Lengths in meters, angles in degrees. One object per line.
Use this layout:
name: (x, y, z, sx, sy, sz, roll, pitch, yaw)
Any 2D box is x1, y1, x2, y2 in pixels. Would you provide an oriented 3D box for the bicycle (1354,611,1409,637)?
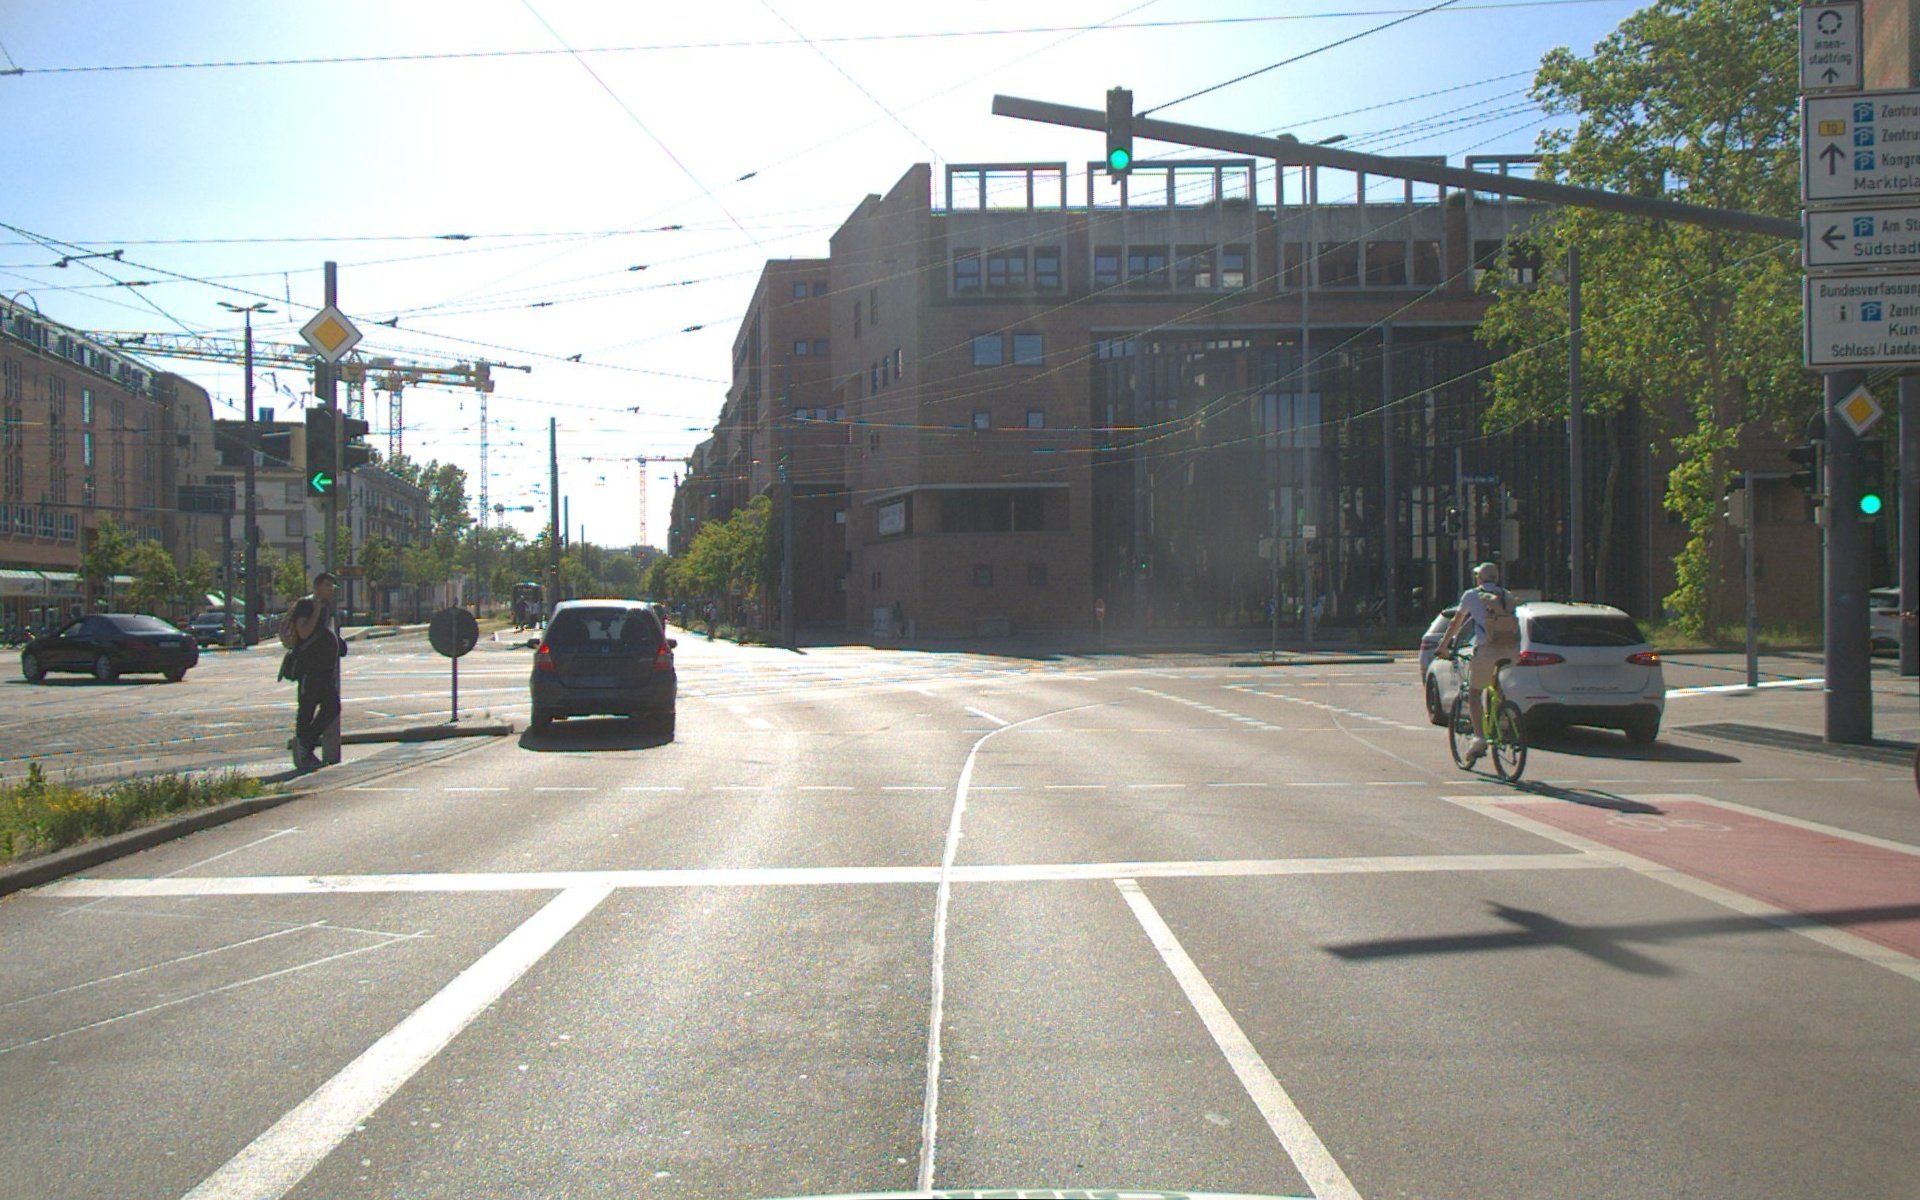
bicycle: (13.982, 0.804, 54.840, 1.639, 0.820, 0.671, -1, 0, -12)

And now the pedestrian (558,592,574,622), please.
pedestrian: (-23.296, 0.397, 97.798, 0.709, 1.765, 0.596, -1, -1, -32)

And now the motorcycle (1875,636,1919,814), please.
motorcycle: (7.061, 0.868, 10.815, 0.812, 1.222, 2.390, 1, 0, -1)

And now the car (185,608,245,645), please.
car: (-33.446, 1.158, 74.310, 1.582, 1.422, 3.907, -5, 1, -12)

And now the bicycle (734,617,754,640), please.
bicycle: (-9.446, 1.229, 72.304, 0.593, 1.002, 2.306, 0, 0, -14)

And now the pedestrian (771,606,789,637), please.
pedestrian: (-10.080, 1.208, 92.723, 0.865, 1.747, 0.928, -1, 0, -15)

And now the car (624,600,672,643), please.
car: (-14.982, 1.017, 79.280, 1.960, 1.982, 3.984, -1, 0, -14)

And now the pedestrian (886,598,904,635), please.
pedestrian: (-2.848, 0.730, 72.428, 0.607, 1.590, 0.983, -1, -1, -15)

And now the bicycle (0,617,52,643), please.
bicycle: (-49.266, 1.557, 87.146, 2.435, 1.333, 0.733, -1, 0, -3)

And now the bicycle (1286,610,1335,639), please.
bicycle: (12.749, 0.870, 60.131, 1.645, 1.012, 0.669, -1, 0, -22)

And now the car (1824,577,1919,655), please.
car: (21.303, 0.358, 36.217, 3.919, 1.611, 1.906, 1, 1, -14)

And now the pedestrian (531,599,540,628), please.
pedestrian: (-23.829, 0.757, 92.850, 0.510, 1.578, 0.598, -1, -1, -15)

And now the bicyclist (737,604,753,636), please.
bicyclist: (-9.365, 0.870, 71.961, 0.583, 1.359, 0.930, 0, -1, -15)

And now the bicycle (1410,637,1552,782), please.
bicycle: (4.591, 0.934, 14.696, 0.636, 1.129, 1.757, -1, 1, -2)

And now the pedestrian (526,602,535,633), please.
pedestrian: (-23.682, 0.964, 91.206, 0.501, 1.684, 0.758, -1, 0, -15)

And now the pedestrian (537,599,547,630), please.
pedestrian: (-23.171, 0.790, 91.609, 0.529, 1.684, 0.704, -1, -1, -15)

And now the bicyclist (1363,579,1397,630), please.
bicyclist: (13.909, 0.159, 54.812, 0.847, 1.658, 0.670, -1, 0, -12)

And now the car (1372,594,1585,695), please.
car: (8.933, 0.719, 28.312, 1.879, 1.568, 4.111, 1, 0, 43)

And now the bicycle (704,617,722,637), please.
bicycle: (-12.430, 1.356, 83.162, 0.656, 1.002, 2.576, 0, 0, -14)

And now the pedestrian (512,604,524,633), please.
pedestrian: (-24.368, 1.027, 91.212, 0.590, 1.594, 0.910, -1, 0, -15)

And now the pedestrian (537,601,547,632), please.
pedestrian: (-23.104, 0.925, 91.402, 0.529, 1.684, 0.892, -1, 0, -15)

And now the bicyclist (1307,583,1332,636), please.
bicyclist: (13.088, 0.350, 60.210, 0.597, 1.917, 0.646, -1, -1, -22)

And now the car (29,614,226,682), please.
car: (-19.227, 1.103, 38.191, 4.417, 1.474, 1.731, -1, 0, 26)

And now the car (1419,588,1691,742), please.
car: (6.929, 0.680, 19.747, 1.866, 1.611, 4.139, 1, 0, 2)

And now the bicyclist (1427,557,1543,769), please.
bicyclist: (4.590, 0.525, 14.523, 0.636, 1.783, 1.045, -1, 1, -3)

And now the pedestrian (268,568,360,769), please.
pedestrian: (-5.918, 0.606, 15.179, 0.658, 1.783, 0.767, -1, 0, -13)

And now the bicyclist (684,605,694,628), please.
bicyclist: (-18.500, 1.115, 112.900, 0.656, 1.553, 0.704, 0, -1, -15)

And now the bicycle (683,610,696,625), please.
bicycle: (-18.474, 1.165, 112.845, 0.656, 1.002, 2.576, 0, 0, -14)

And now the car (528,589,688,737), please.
car: (-4.237, 0.687, 19.968, 1.696, 1.591, 3.666, -1, 0, -12)

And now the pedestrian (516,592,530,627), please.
pedestrian: (-21.754, 0.464, 82.370, 0.604, 1.698, 0.861, -3, 1, -15)

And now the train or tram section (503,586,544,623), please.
train or tram section: (-37.955, 0.338, 144.103, 2.284, 3.056, 13.129, 0, 0, -10)

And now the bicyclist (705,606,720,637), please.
bicyclist: (-12.434, 1.097, 83.175, 0.656, 1.553, 0.704, 0, -1, -15)
